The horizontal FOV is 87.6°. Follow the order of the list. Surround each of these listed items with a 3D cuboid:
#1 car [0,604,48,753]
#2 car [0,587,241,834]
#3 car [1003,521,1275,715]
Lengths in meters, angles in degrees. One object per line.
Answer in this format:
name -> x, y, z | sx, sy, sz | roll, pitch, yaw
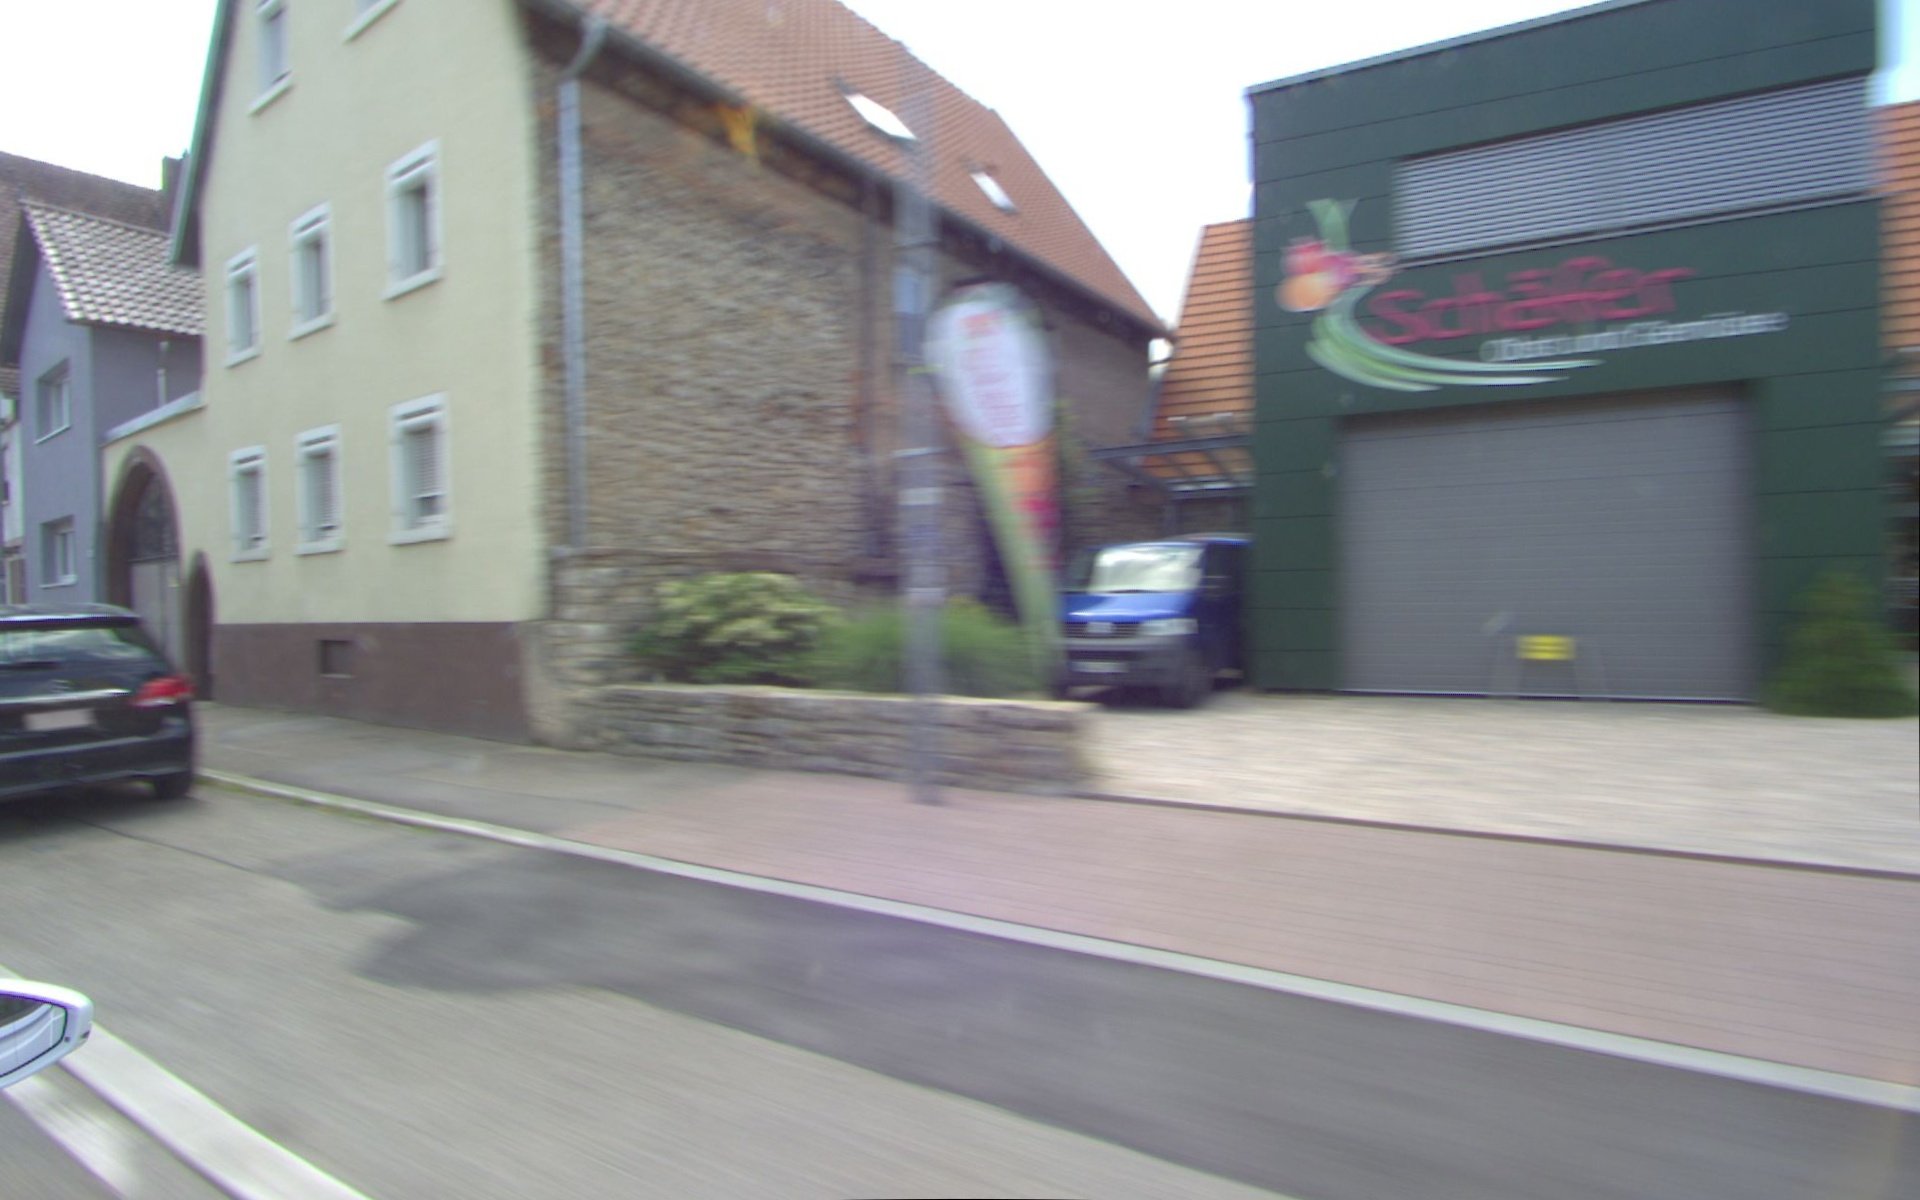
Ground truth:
car -> -12.023, 0.886, 11.204 | 4.142, 1.551, 1.854 | -2, 1, 36
car -> -7.635, 0.739, 8.019 | 3.950, 1.580, 1.985 | 0, 2, 38
car -> 2.545, 0.172, 12.912 | 1.969, 1.976, 5.045 | -1, 0, 28
